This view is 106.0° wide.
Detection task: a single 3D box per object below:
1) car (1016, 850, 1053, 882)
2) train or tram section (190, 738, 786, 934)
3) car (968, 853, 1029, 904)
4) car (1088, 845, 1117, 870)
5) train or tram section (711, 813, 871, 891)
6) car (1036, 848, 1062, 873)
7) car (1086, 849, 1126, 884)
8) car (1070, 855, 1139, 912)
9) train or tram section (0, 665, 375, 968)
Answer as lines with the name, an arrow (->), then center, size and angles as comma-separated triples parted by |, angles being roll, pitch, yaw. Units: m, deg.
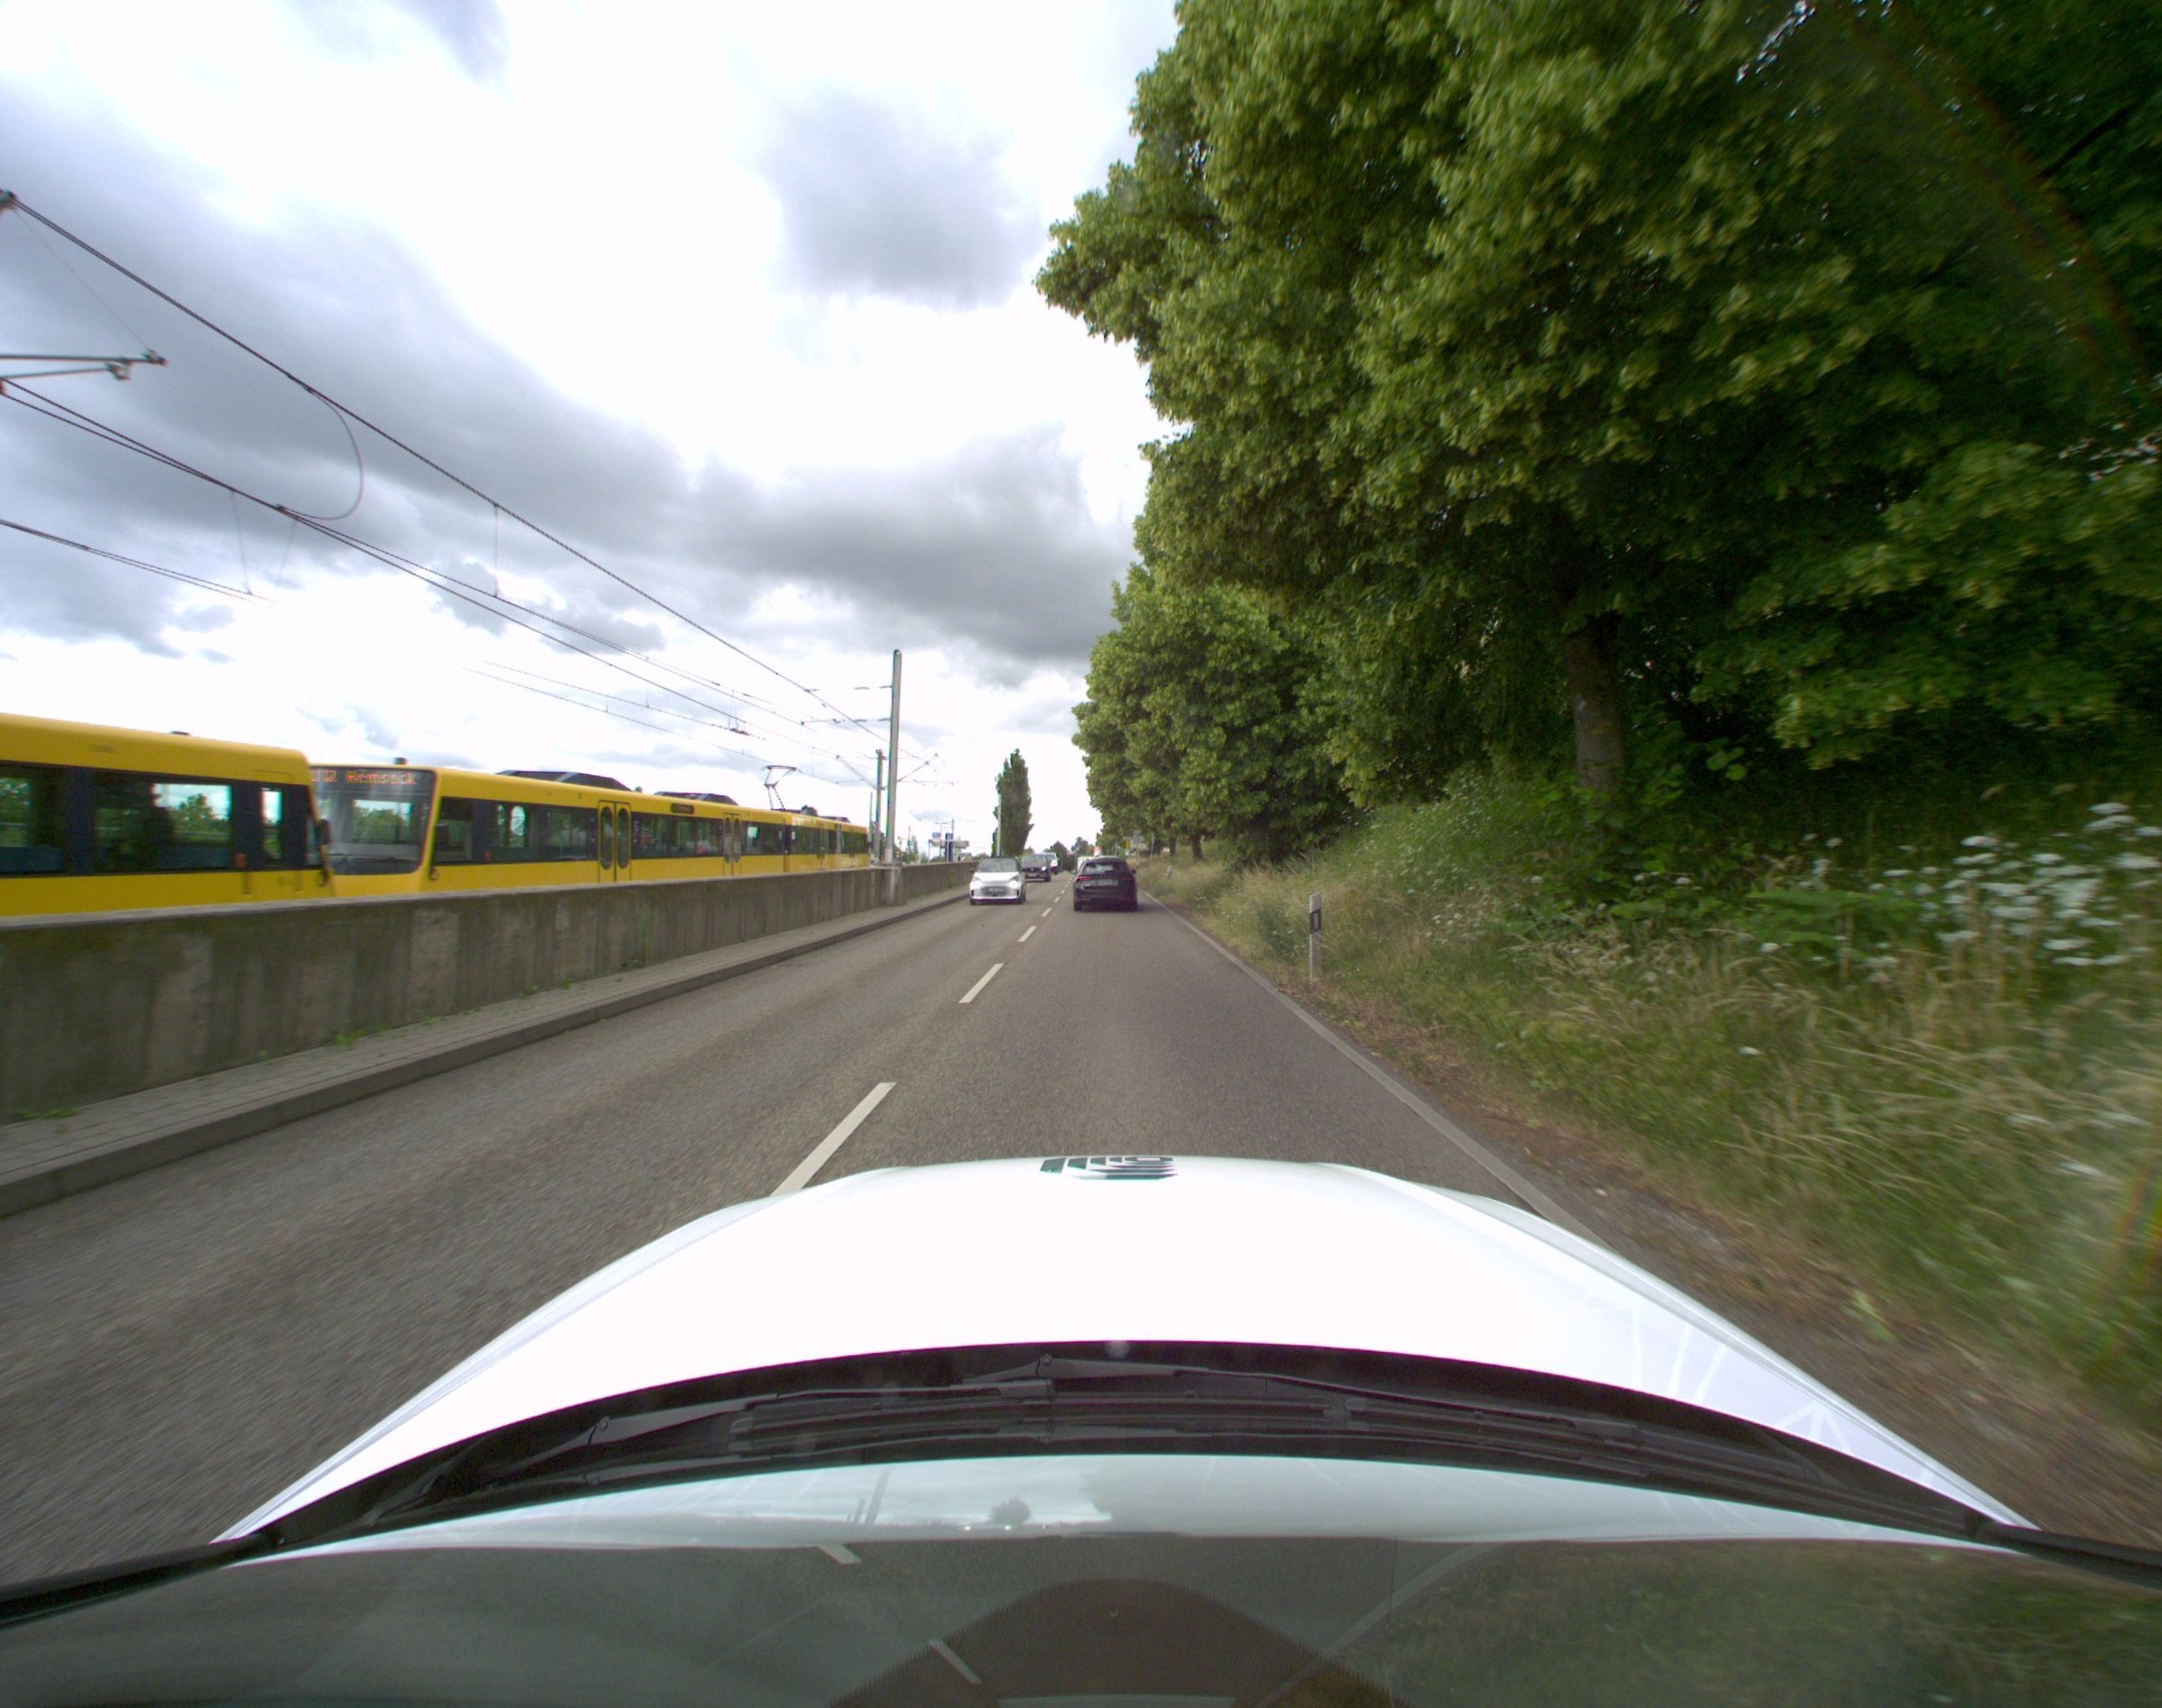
car -> -2.711, 0.665, 48.062 | 1.904, 1.768, 4.306 | -1, 0, 0
train or tram section -> -12.670, -0.173, 22.288 | 2.794, 3.025, 19.291 | -1, -1, -2
car -> -2.711, 0.763, 27.511 | 1.727, 1.572, 3.997 | -1, 0, -2
car -> 1.523, 0.262, 57.976 | 1.986, 1.740, 4.001 | -1, -1, 2
train or tram section -> -13.742, 0.050, 41.192 | 2.791, 3.022, 18.847 | -1, -1, -5
car -> -2.725, 0.543, 69.742 | 1.987, 2.013, 4.313 | -1, 0, 1
car -> 1.295, 0.619, 42.766 | 1.986, 1.753, 4.001 | 0, 0, 1
car -> 0.675, 0.785, 23.248 | 1.775, 1.468, 4.002 | 0, 0, 2
train or tram section -> -12.383, -0.428, 3.060 | 2.795, 3.077, 19.098 | -1, -1, 0
